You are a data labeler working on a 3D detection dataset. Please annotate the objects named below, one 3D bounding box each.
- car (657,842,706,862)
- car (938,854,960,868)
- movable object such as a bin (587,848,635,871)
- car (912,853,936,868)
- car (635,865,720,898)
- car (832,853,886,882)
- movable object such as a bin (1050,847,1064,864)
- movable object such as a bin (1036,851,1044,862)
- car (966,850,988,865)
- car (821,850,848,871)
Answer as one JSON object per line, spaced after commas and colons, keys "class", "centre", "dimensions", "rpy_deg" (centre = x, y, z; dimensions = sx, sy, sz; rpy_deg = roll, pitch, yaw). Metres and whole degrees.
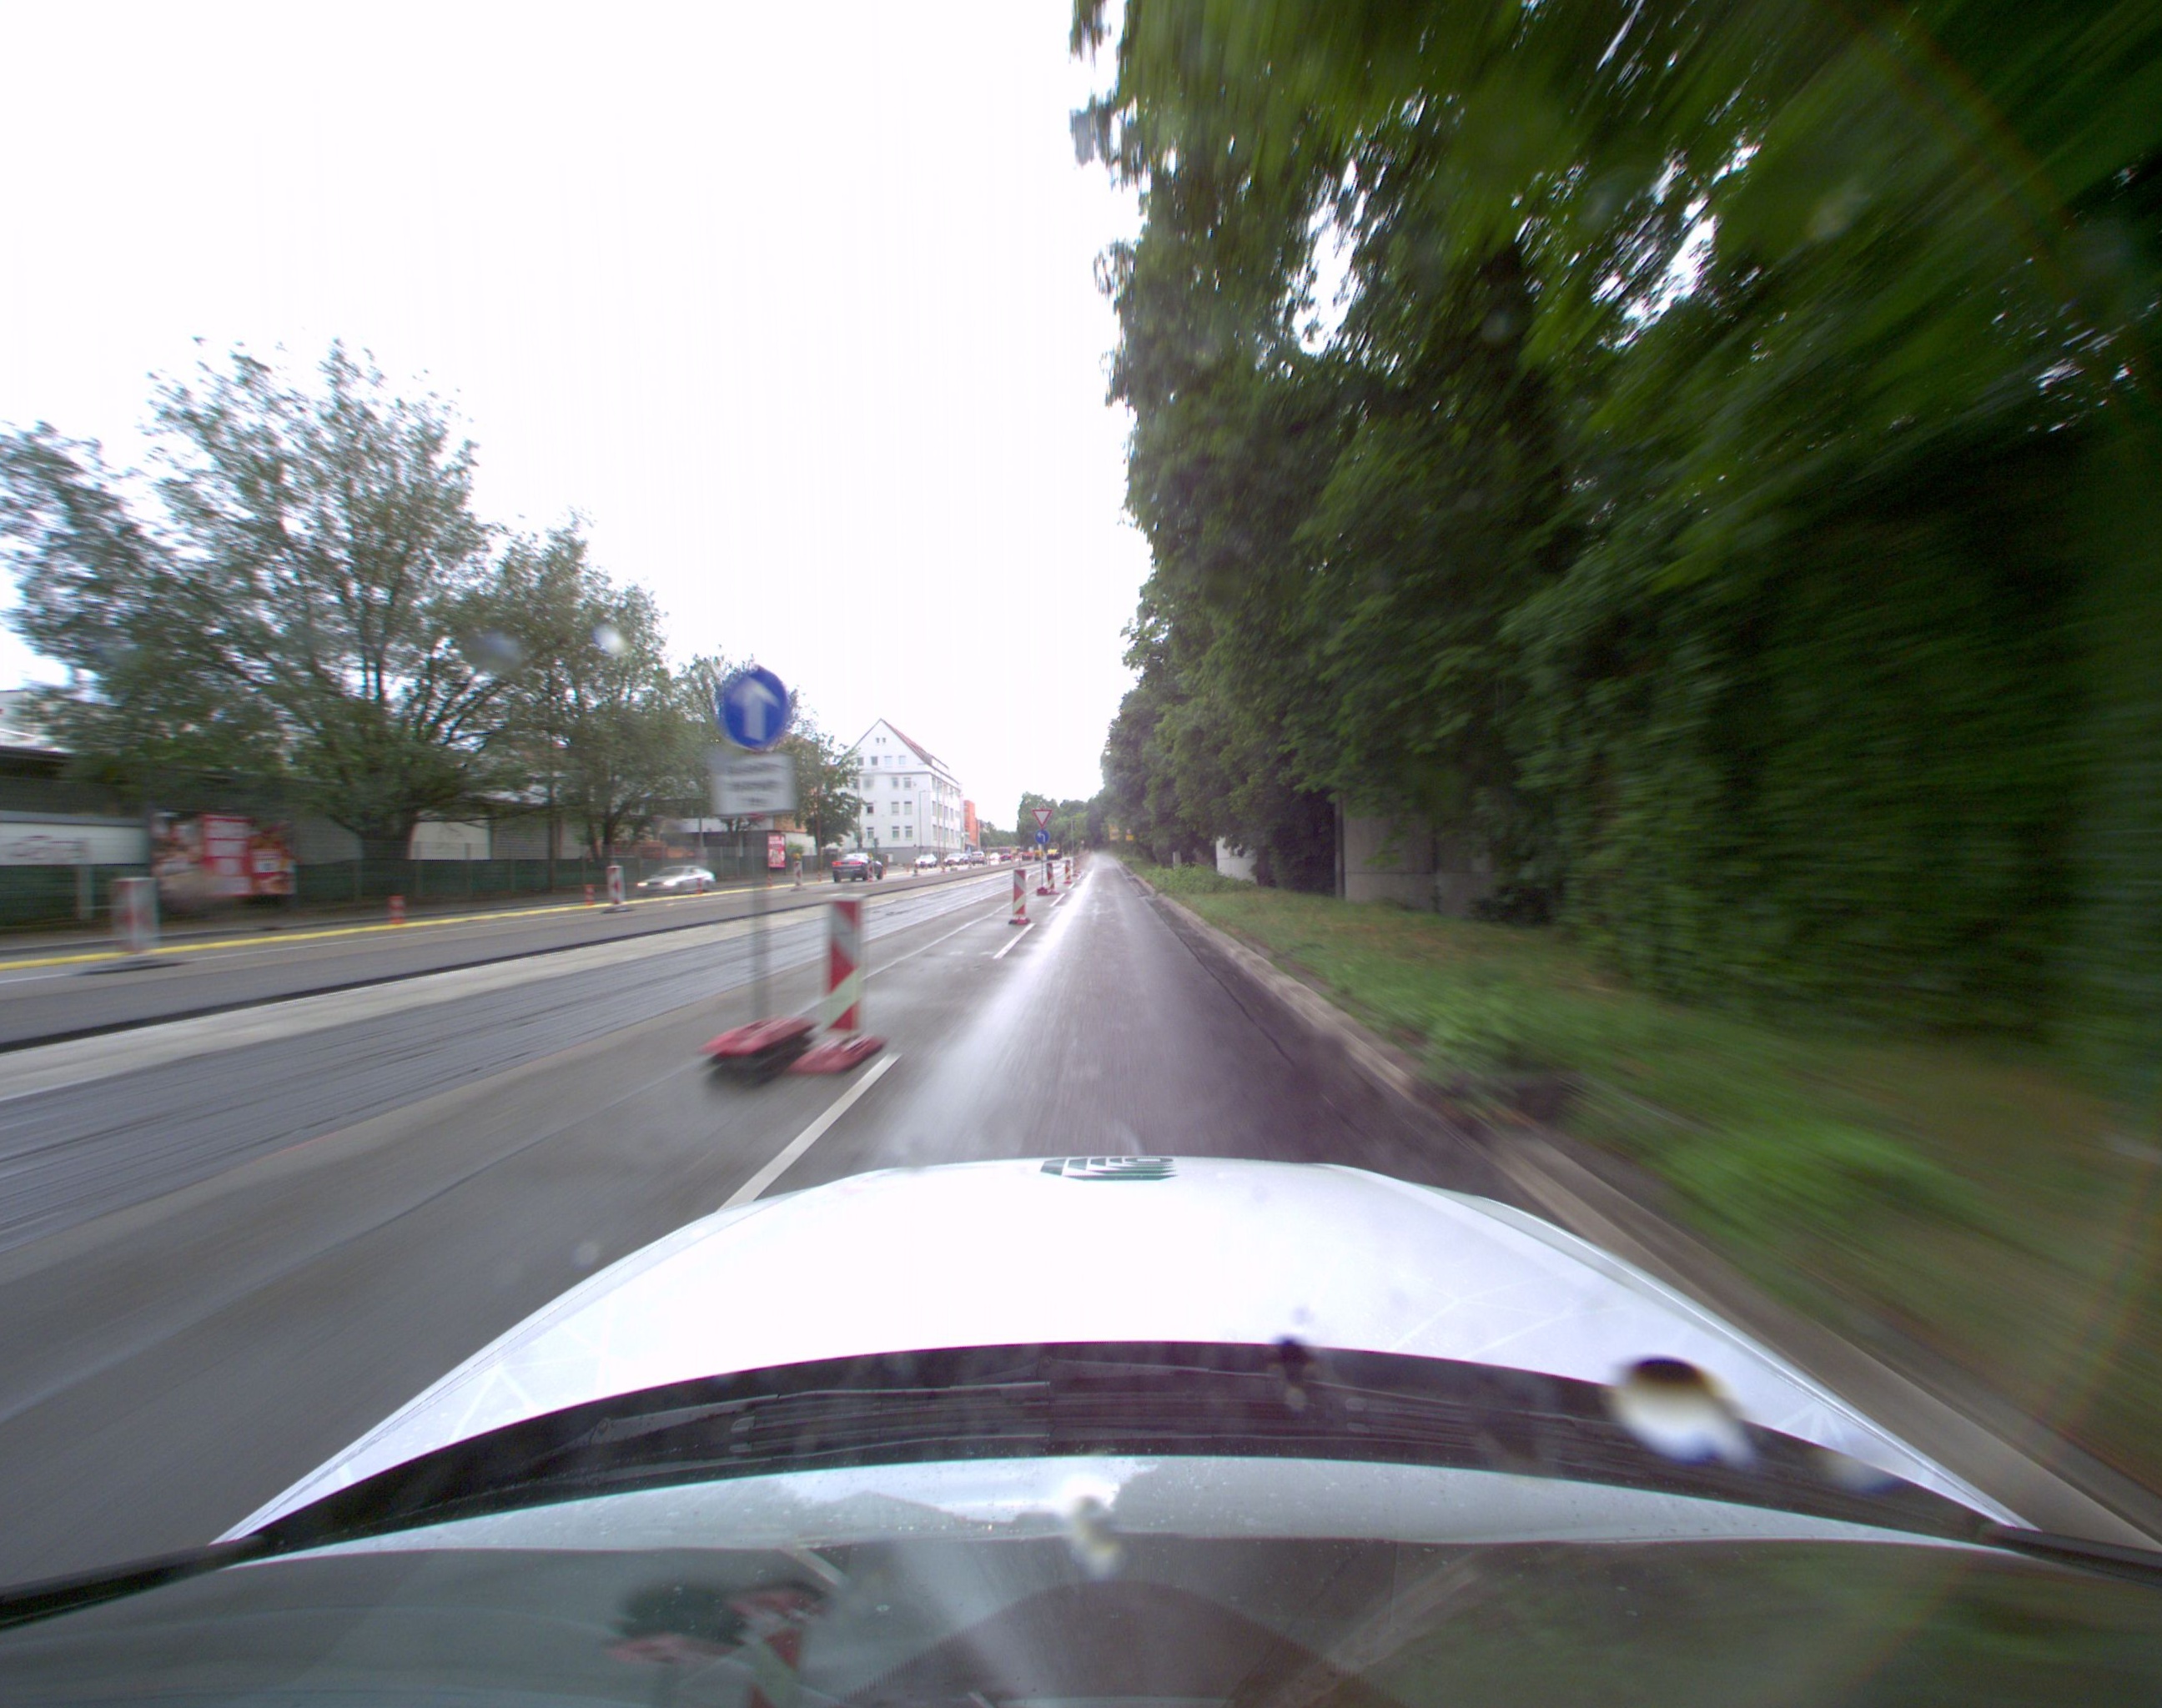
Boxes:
{"class": "car", "centre": [-31.970, -0.139, 65.146], "dimensions": [3.971, 1.527, 2.013], "rpy_deg": [-1, 0, 39]}
{"class": "car", "centre": [-16.233, 0.847, 100.406], "dimensions": [1.852, 1.619, 4.367], "rpy_deg": [-4, 0, 2]}
{"class": "movable object such as a bin", "centre": [-32.099, 0.380, 55.563], "dimensions": [3.973, 1.527, 1.764], "rpy_deg": [-1, 0, 44]}
{"class": "car", "centre": [-18.916, 0.798, 98.221], "dimensions": [1.852, 1.706, 4.367], "rpy_deg": [-4, 0, 2]}
{"class": "car", "centre": [-19.257, 1.273, 39.120], "dimensions": [1.660, 1.315, 4.457], "rpy_deg": [-4, 0, 2]}
{"class": "car", "centre": [-13.328, 0.798, 49.105], "dimensions": [1.885, 1.650, 4.398], "rpy_deg": [-1, 0, 2]}
{"class": "movable object such as a bin", "centre": [-3.916, 0.153, 131.875], "dimensions": [1.895, 2.609, 5.384], "rpy_deg": [-2, 0, 1]}
{"class": "movable object such as a bin", "centre": [-6.194, 0.359, 123.658], "dimensions": [1.080, 1.644, 2.439], "rpy_deg": [-2, 0, 1]}
{"class": "car", "centre": [-12.452, 0.405, 97.857], "dimensions": [1.885, 1.650, 4.398], "rpy_deg": [-1, 0, 2]}
{"class": "car", "centre": [-26.732, 0.700, 88.533], "dimensions": [1.604, 2.170, 4.000], "rpy_deg": [-2, 0, 1]}
